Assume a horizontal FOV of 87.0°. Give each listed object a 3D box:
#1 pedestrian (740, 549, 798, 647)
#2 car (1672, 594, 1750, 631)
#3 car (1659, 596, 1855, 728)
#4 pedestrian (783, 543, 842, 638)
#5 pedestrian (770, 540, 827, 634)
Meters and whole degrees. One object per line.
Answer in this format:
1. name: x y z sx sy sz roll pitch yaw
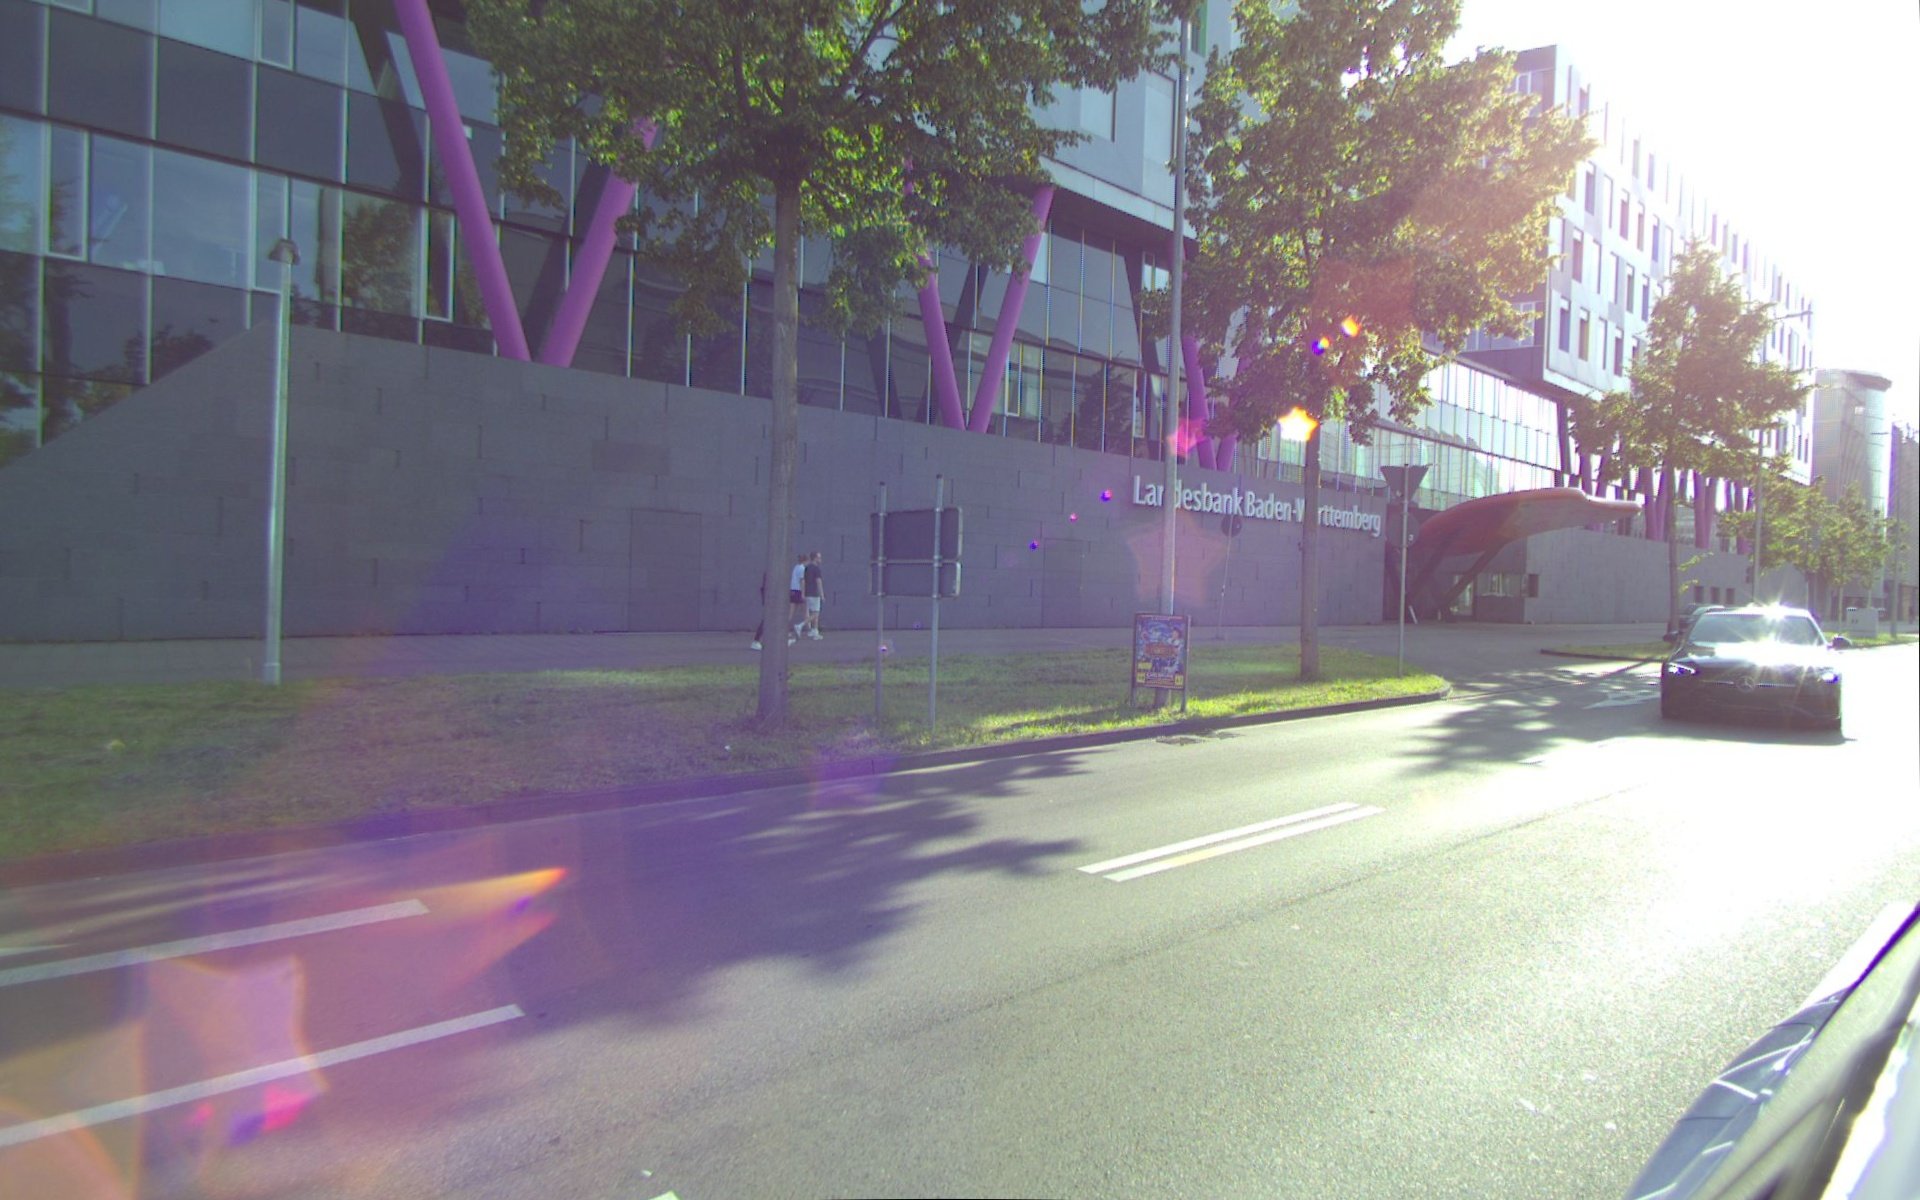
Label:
1. pedestrian: -3.364 -0.044 17.830 0.724 1.659 0.695 1 2 -41
2. car: 30.621 0.515 41.228 4.125 1.407 1.695 1 1 -41
3. car: 10.931 0.719 13.799 1.837 1.468 4.488 1 0 41
4. pedestrian: -2.933 -0.201 20.164 0.829 1.815 0.756 1 3 -41
5. pedestrian: -3.324 -0.276 20.822 0.838 1.847 0.770 1 3 -41
